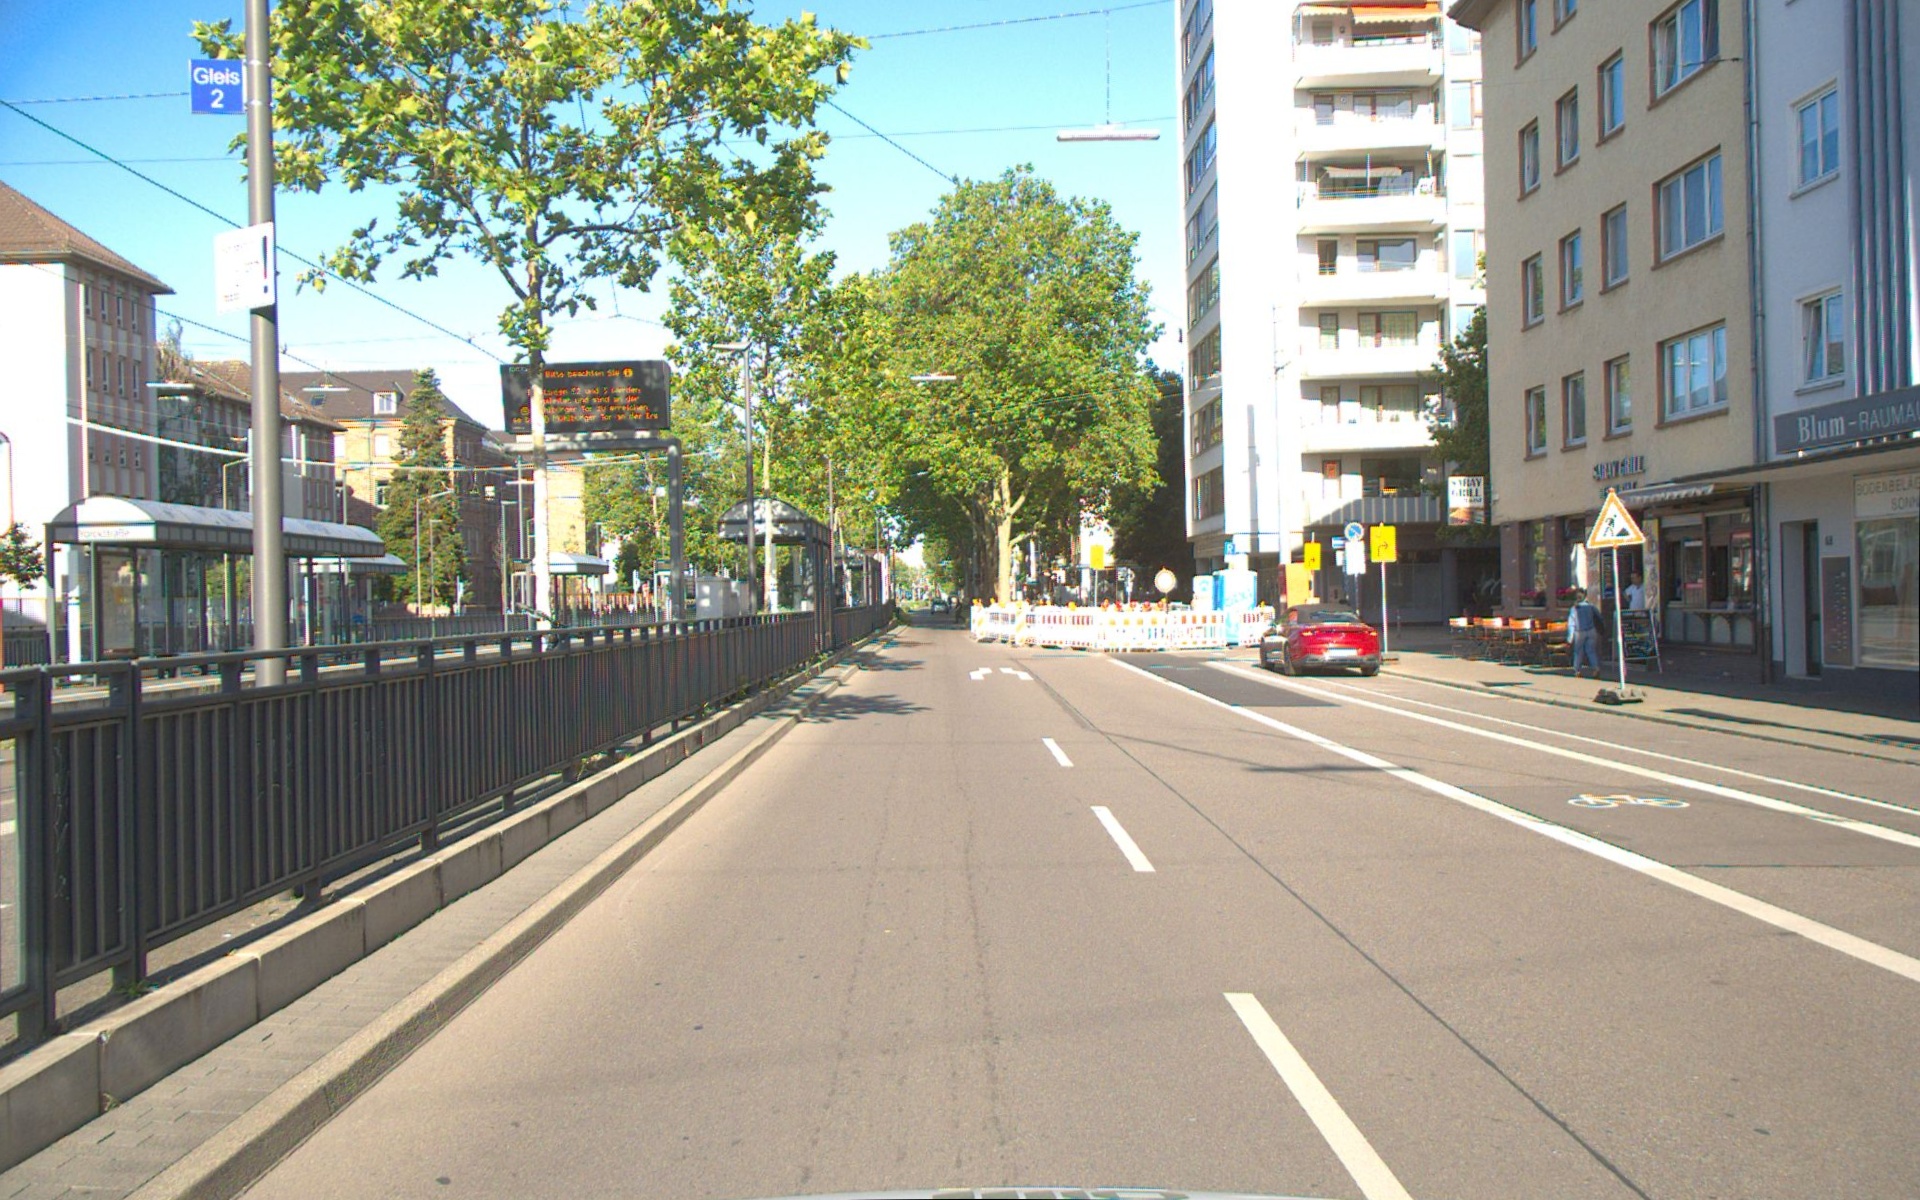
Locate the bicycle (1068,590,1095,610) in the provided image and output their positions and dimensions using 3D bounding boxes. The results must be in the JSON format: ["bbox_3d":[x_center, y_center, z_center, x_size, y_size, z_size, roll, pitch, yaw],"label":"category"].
[{"bbox_3d":[8.045,-0.011,109.512,1.572,1.285,0.962,-1,0,-5],"label":"bicycle"}]

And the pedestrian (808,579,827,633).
[{"bbox_3d":[-5.391,0.222,62.603,0.654,2.049,0.716,-1,0,-2],"label":"pedestrian"}]

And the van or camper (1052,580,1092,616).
[{"bbox_3d":[7.626,-0.145,113.346,2.244,2.326,5.821,-1,0,-1],"label":"van or camper"}]

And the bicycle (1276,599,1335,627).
[{"bbox_3d":[12.438,0.461,59.525,1.986,0.959,1.018,-1,0,19],"label":"bicycle"}]

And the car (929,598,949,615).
[{"bbox_3d":[-2.106,0.639,165.266,1.980,1.691,3.999,-1,0,-1],"label":"car"}]

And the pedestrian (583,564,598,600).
[{"bbox_3d":[-21.261,-1.033,95.159,0.649,2.049,0.860,-1,0,-1],"label":"pedestrian"}]

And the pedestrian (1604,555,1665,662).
[{"bbox_3d":[12.233,0.152,30.024,0.713,1.887,0.901,-1,0,2],"label":"pedestrian"}]

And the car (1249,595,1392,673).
[{"bbox_3d":[7.404,0.646,34.478,1.833,1.468,5.159,-1,0,0],"label":"car"}]

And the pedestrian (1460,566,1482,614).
[{"bbox_3d":[20.207,-0.395,65.462,0.642,1.887,0.678,1,0,1],"label":"pedestrian"}]

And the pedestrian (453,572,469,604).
[{"bbox_3d":[-28.920,-0.698,95.841,0.678,1.869,0.573,-1,0,-1],"label":"pedestrian"}]

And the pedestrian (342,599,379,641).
[{"bbox_3d":[-20.540,0.686,56.687,0.955,1.400,0.879,-1,0,-2],"label":"pedestrian"}]

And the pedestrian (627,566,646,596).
[{"bbox_3d":[-19.420,-1.132,99.210,0.933,1.766,0.730,-1,0,2],"label":"pedestrian"}]

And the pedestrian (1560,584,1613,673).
[{"bbox_3d":[10.994,0.493,29.052,0.657,1.533,0.652,-1,0,-1],"label":"pedestrian"}]

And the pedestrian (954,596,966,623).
[{"bbox_3d":[-0.006,0.598,107.565,0.697,1.710,0.772,-1,0,-2],"label":"pedestrian"}]

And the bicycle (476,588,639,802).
[{"bbox_3d":[-2.883,0.626,12.057,0.626,1.403,2.169,-1,0,0],"label":"bicycle"}]
